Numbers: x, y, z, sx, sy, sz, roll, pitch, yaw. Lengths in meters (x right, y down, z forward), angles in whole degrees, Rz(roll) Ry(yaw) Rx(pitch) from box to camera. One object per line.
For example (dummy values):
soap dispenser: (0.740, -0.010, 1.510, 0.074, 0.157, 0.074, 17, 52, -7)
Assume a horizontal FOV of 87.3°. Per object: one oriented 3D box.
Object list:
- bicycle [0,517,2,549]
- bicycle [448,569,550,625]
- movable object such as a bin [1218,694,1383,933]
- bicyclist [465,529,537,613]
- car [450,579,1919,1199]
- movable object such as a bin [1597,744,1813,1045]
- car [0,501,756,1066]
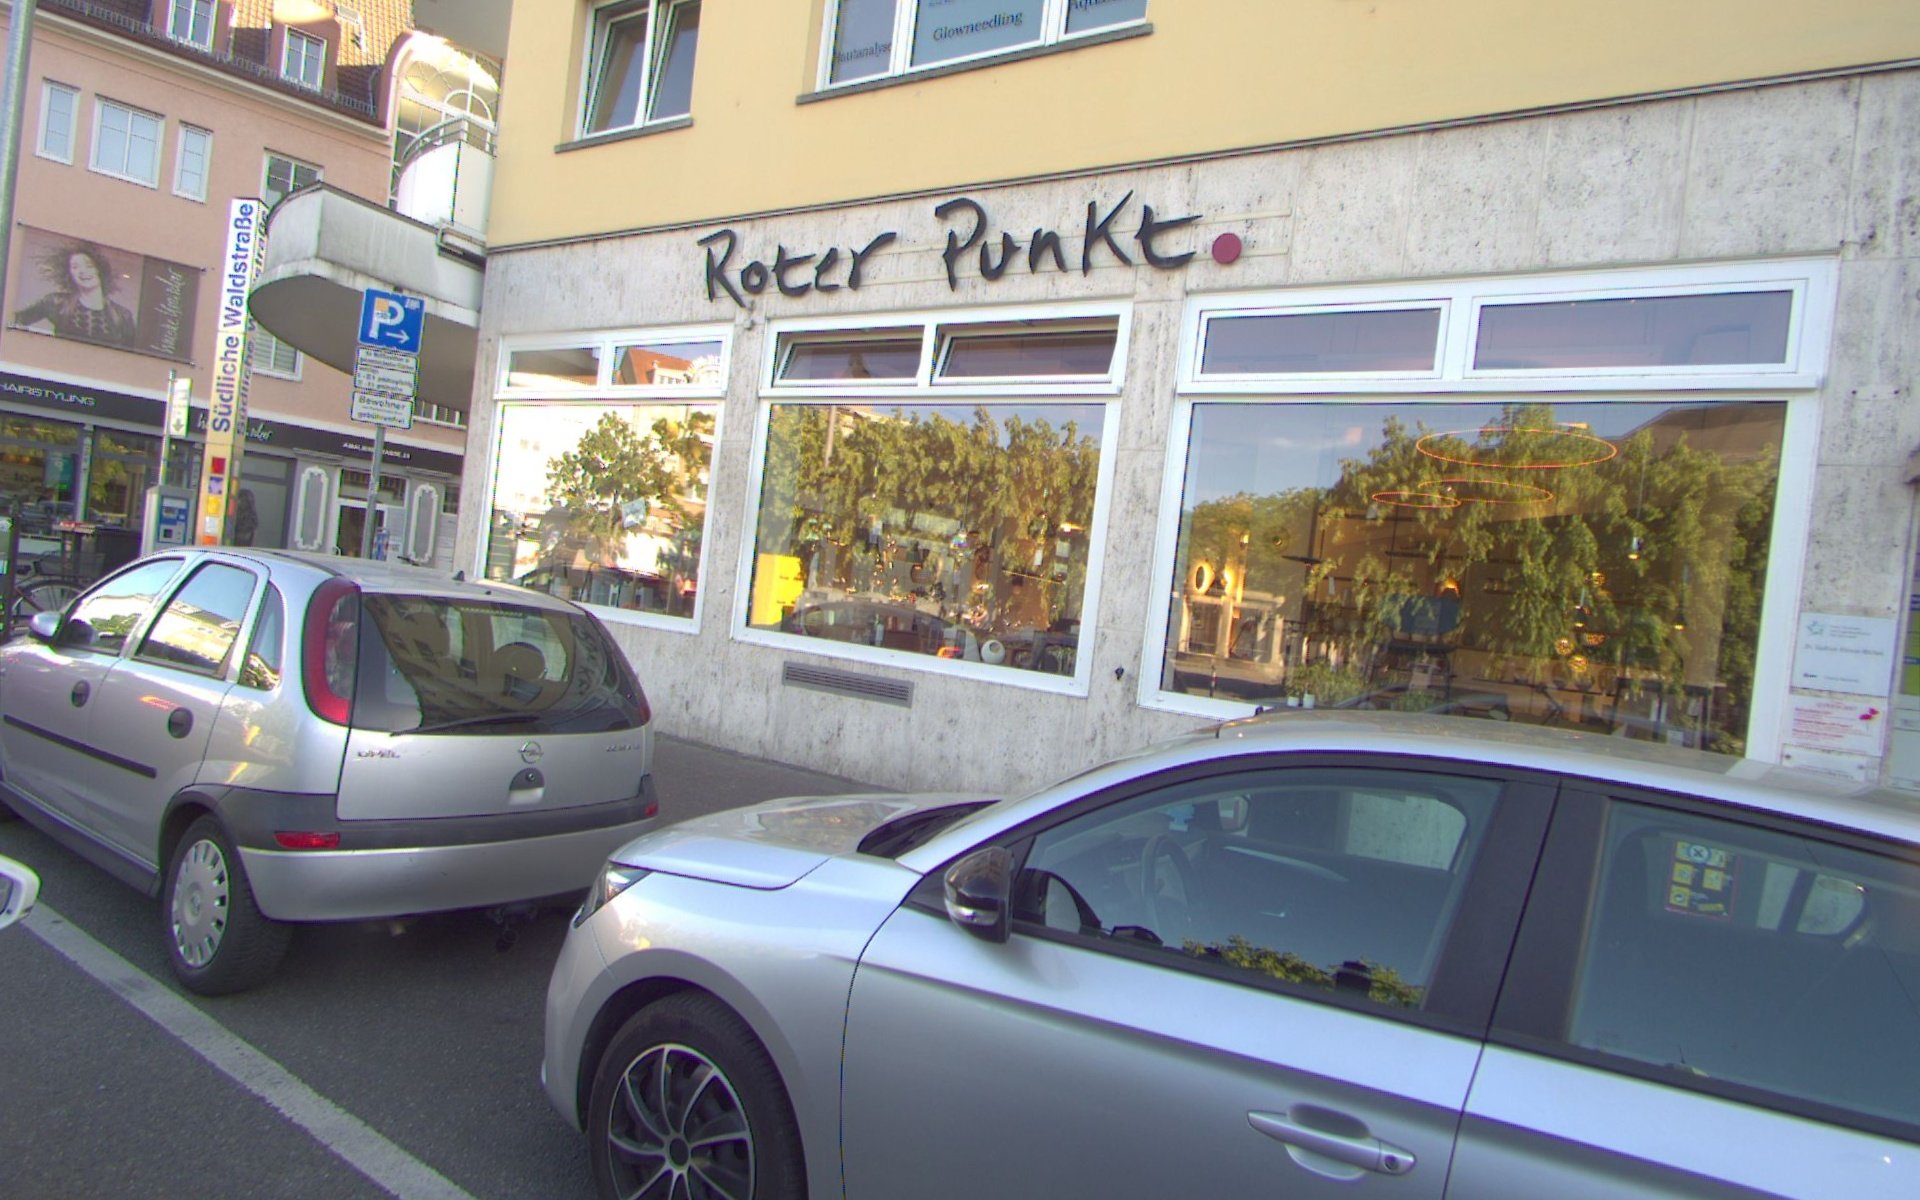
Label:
bicycle: (-9.311, -0.229, 8.523, 0.425, 1.175, 1.629, 7, 1, 30)
bicycle: (-10.074, -0.046, 22.034, 0.620, 0.956, 1.862, 7, -2, 42)
movable object such as a bin: (1.864, 1.113, 5.482, 0.609, 1.082, 0.703, 7, 3, 31)
bicyclist: (-10.025, -0.620, 22.010, 0.620, 1.674, 1.118, 7, 0, 42)
car: (0.934, 0.933, 2.209, 4.009, 1.444, 1.673, 7, -1, 31)
movable object such as a bin: (3.330, 1.272, 4.569, 0.609, 1.082, 0.703, 7, 3, 31)
car: (-2.934, 0.444, 4.433, 3.822, 1.411, 1.624, 7, -1, 33)
